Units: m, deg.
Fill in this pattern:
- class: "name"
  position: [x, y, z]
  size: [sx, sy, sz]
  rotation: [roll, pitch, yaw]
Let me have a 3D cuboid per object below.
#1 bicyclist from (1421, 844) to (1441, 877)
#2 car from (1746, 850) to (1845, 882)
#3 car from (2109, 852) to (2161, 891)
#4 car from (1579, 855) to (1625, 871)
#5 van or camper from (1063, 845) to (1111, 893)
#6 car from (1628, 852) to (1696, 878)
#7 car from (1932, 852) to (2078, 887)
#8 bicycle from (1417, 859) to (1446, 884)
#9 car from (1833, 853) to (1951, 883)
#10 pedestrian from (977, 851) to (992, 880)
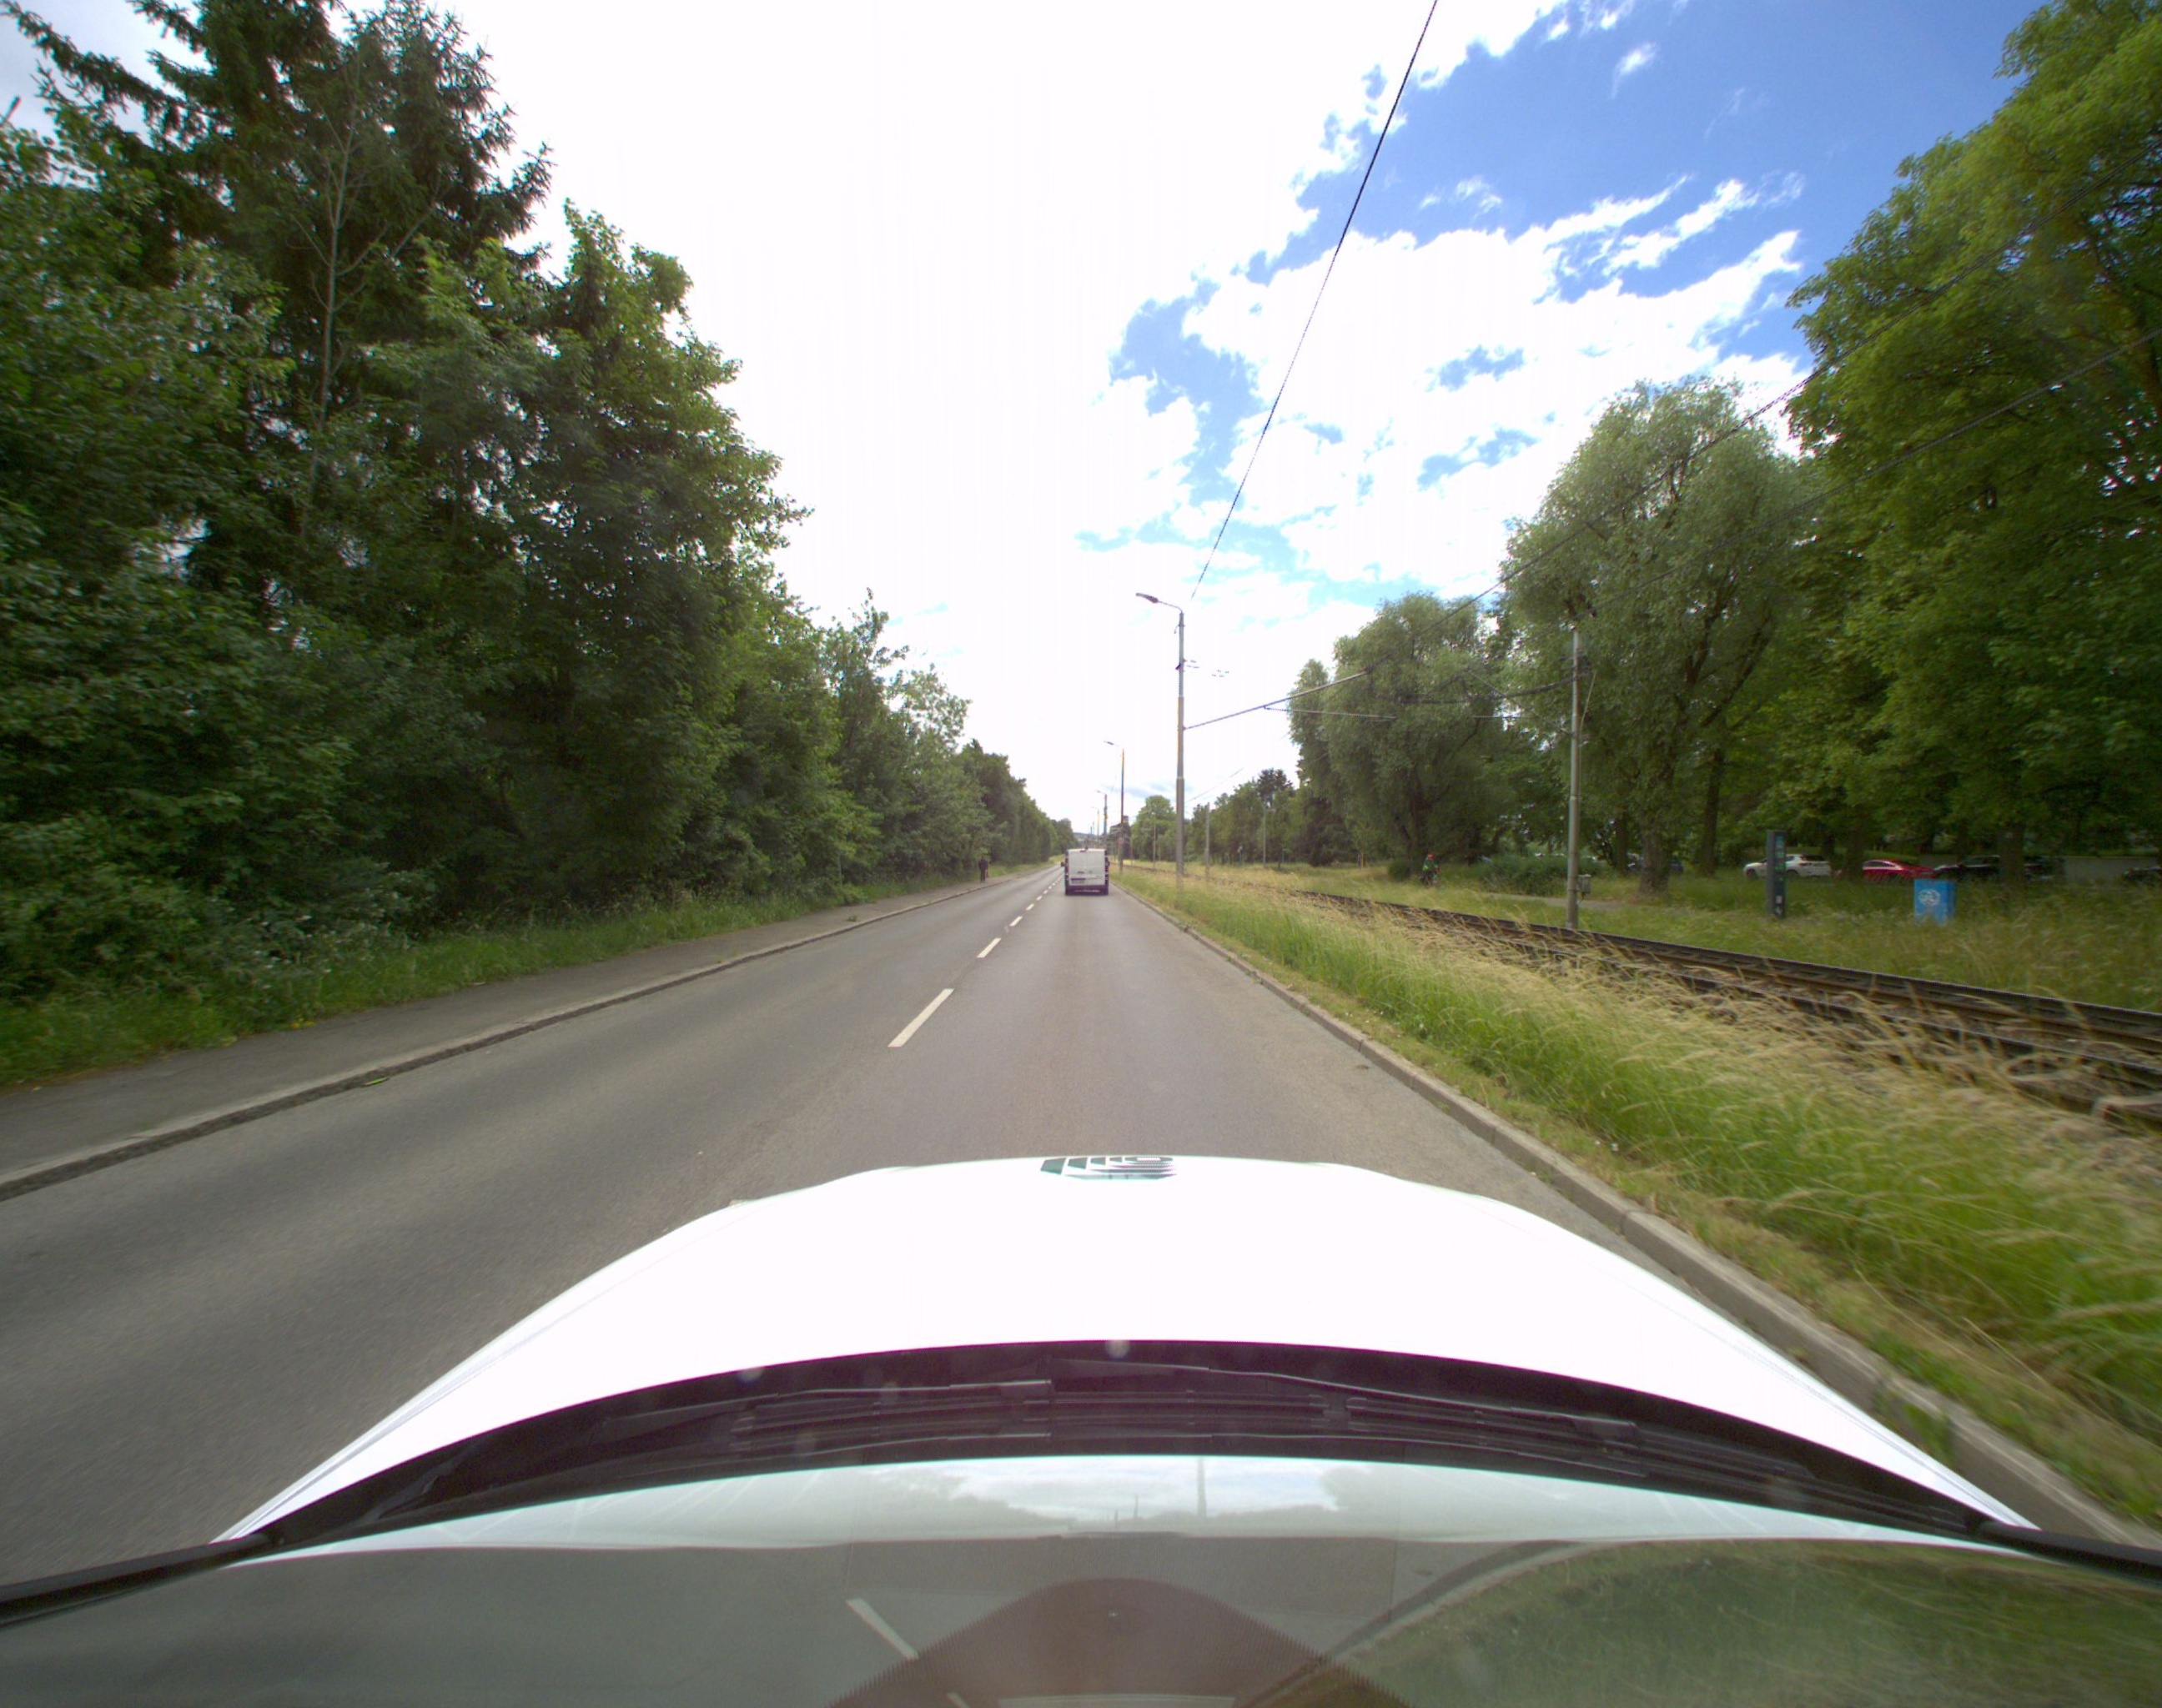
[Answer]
- class: "bicyclist"
  position: [18.214, 0.339, 42.355]
  size: [0.579, 1.696, 0.934]
  rotation: [1, -1, -4]
- class: "car"
  position: [40.854, 0.671, 46.721]
  size: [1.987, 1.700, 4.228]
  rotation: [1, 0, 0]
- class: "car"
  position: [40.844, 0.662, 29.579]
  size: [1.987, 1.443, 3.999]
  rotation: [1, 0, 0]
- class: "car"
  position: [58.160, 0.983, 90.957]
  size: [2.003, 1.812, 3.967]
  rotation: [1, 0, -25]
- class: "van or camper"
  position: [0.212, 0.640, 35.517]
  size: [1.937, 1.897, 4.282]
  rotation: [-1, -1, -2]
- class: "car"
  position: [40.827, 0.757, 57.329]
  size: [1.986, 1.700, 4.002]
  rotation: [1, 0, 2]
- class: "car"
  position: [40.749, 0.679, 36.079]
  size: [1.987, 1.443, 3.999]
  rotation: [1, 0, 0]
- class: "bicycle"
  position: [18.195, 0.884, 42.325]
  size: [0.579, 1.246, 1.927]
  rotation: [0, 0, -4]
- class: "car"
  position: [40.811, 0.679, 41.116]
  size: [1.987, 1.443, 3.999]
  rotation: [1, 0, 0]
- class: "pedestrian"
  position: [-6.133, 0.738, 51.832]
  size: [0.866, 1.769, 0.788]
  rotation: [-2, 0, -4]
